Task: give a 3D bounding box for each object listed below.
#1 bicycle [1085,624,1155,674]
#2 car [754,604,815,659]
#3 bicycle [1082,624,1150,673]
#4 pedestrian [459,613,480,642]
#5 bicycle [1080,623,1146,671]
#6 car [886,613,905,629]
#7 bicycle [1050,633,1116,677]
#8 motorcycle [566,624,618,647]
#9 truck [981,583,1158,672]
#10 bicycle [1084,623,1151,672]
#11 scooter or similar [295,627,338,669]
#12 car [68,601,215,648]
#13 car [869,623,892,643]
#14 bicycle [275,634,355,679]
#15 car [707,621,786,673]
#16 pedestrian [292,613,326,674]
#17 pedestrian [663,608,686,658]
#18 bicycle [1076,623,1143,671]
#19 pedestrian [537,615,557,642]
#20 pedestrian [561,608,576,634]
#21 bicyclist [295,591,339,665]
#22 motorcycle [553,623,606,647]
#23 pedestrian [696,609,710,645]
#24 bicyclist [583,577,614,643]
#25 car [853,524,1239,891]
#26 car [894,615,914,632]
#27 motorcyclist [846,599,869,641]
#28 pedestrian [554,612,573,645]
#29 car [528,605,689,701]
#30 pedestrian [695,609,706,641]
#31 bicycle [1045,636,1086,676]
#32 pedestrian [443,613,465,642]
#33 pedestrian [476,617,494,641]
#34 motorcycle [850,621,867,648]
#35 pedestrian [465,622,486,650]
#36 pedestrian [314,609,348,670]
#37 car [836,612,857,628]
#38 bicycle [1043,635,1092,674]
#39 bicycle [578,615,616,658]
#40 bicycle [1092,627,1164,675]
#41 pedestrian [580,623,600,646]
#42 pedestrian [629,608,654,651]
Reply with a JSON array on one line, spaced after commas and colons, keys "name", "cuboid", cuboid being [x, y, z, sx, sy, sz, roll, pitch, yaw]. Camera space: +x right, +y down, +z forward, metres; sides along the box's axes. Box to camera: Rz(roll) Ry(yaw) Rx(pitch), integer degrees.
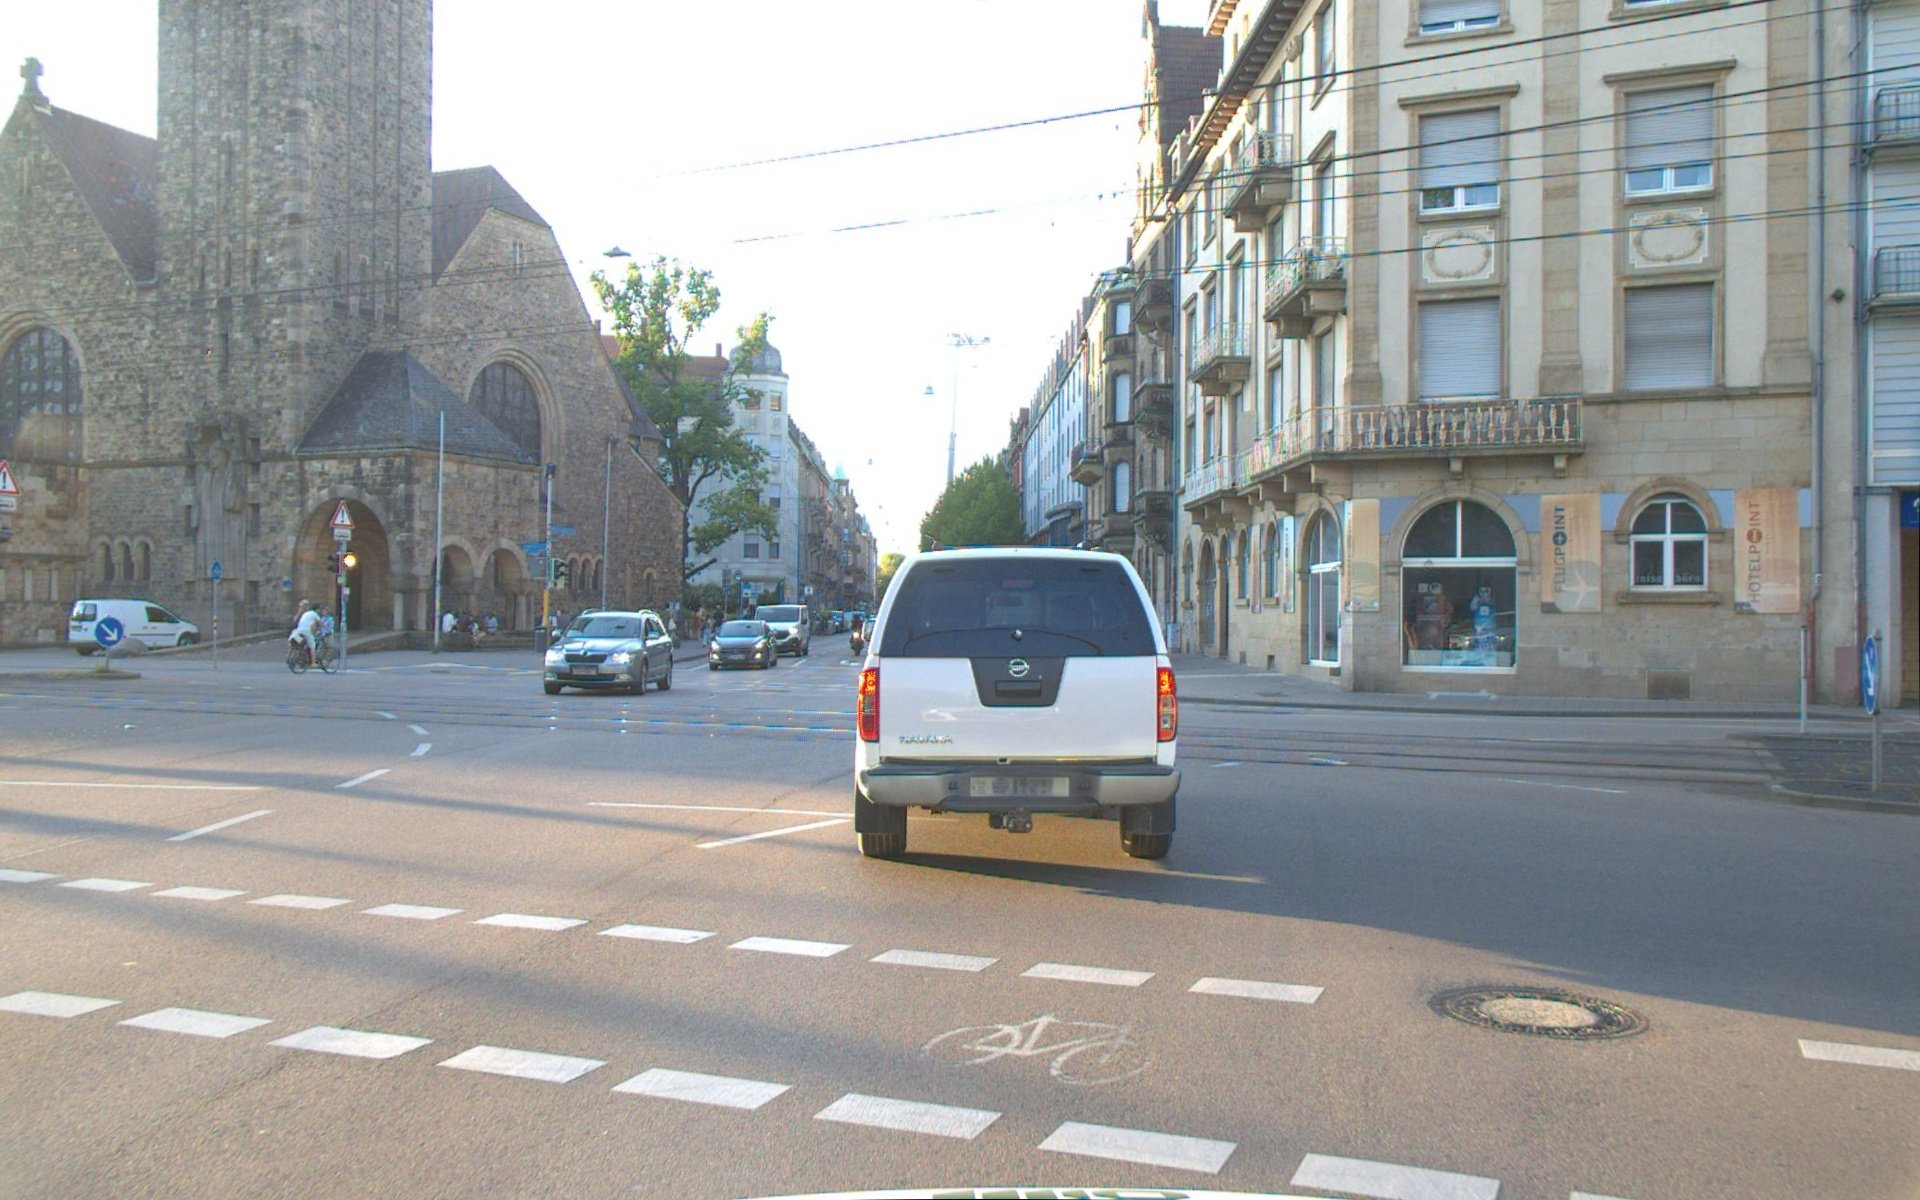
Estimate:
[{"name": "bicycle", "cuboid": [4.366, 1.335, 45.171, 1.781, 1.259, 0.488, -3, -1, -3]}, {"name": "car", "cuboid": [-6.750, 1.229, 64.115, 1.953, 2.049, 4.948, 0, -1, -1]}, {"name": "bicycle", "cuboid": [4.327, 1.352, 45.882, 1.781, 1.259, 0.477, -3, -1, -3]}, {"name": "pedestrian", "cuboid": [-16.818, 0.949, 56.698, 0.511, 0.977, 0.479, 1, -1, 19]}, {"name": "bicycle", "cuboid": [4.354, 1.342, 47.213, 1.781, 1.259, 0.410, -3, -1, -3]}, {"name": "car", "cuboid": [-6.574, 2.129, 168.851, 1.882, 1.556, 3.997, 1, -1, -3]}, {"name": "bicycle", "cuboid": [3.317, 1.478, 44.692, 1.692, 1.102, 0.317, -3, -1, -3]}, {"name": "motorcycle", "cuboid": [-16.835, 1.609, 75.715, 2.200, 1.005, 0.707, 1, -1, -6]}, {"name": "truck", "cuboid": [3.424, 0.853, 50.798, 5.628, 2.610, 2.251, 2, -1, -44]}, {"name": "bicycle", "cuboid": [4.425, 1.333, 46.608, 1.781, 1.259, 0.412, -3, -1, -3]}, {"name": "scooter or similar", "cuboid": [-17.997, 1.338, 46.262, 0.620, 1.123, 1.079, 1, -1, 11]}, {"name": "car", "cuboid": [-27.923, 0.861, 56.560, 1.679, 1.543, 4.453, 1, -1, 24]}, {"name": "car", "cuboid": [-6.583, 2.730, 136.907, 1.821, 1.556, 3.998, 1, -1, -2]}, {"name": "bicycle", "cuboid": [-16.580, 1.433, 42.573, 0.642, 1.097, 2.246, 1, -1, 16]}, {"name": "car", "cuboid": [-6.530, 1.404, 50.896, 1.953, 1.503, 4.138, -1, 0, -1]}, {"name": "pedestrian", "cuboid": [-18.596, 1.242, 47.241, 0.620, 1.728, 0.603, 1, -1, 13]}, {"name": "pedestrian", "cuboid": [-11.243, 1.296, 65.129, 0.796, 1.934, 0.666, 1, -1, -2]}, {"name": "bicycle", "cuboid": [4.311, 1.354, 47.744, 1.818, 1.259, 0.530, -3, -1, -3]}, {"name": "pedestrian", "cuboid": [-15.580, 1.080, 62.407, 0.510, 0.977, 0.479, 1, -1, 17]}, {"name": "pedestrian", "cuboid": [-14.758, 0.803, 62.285, 0.513, 0.977, 0.477, 1, -1, -16]}, {"name": "bicyclist", "cuboid": [-16.568, 0.714, 42.612, 0.642, 1.859, 0.860, 1, 0, 16]}, {"name": "motorcycle", "cuboid": [-16.927, 1.570, 73.688, 2.200, 1.005, 0.707, 1, -1, -6]}, {"name": "pedestrian", "cuboid": [-13.653, 1.425, 87.827, 0.632, 1.888, 0.560, 1, -1, -15]}, {"name": "bicyclist", "cuboid": [-9.414, 0.266, 43.106, 0.587, 1.673, 0.963, 1, -1, -1]}, {"name": "car", "cuboid": [0.447, 0.588, 10.517, 1.953, 1.841, 3.999, 1, -1, 0]}, {"name": "car", "cuboid": [-5.379, 2.241, 158.542, 1.821, 1.556, 3.999, 1, -1, -1]}, {"name": "motorcyclist", "cuboid": [-4.141, 0.816, 67.053, 0.857, 1.673, 0.963, 1, -1, -1]}, {"name": "pedestrian", "cuboid": [-15.374, 1.118, 64.113, 0.468, 1.267, 0.523, 1, -1, 17]}, {"name": "car", "cuboid": [-6.363, 0.909, 30.522, 1.953, 1.585, 4.768, 0, 0, 0]}, {"name": "pedestrian", "cuboid": [-13.898, 1.350, 88.667, 0.549, 1.725, 0.643, 1, -1, -8]}, {"name": "bicycle", "cuboid": [2.901, 1.531, 45.574, 1.055, 1.042, 0.317, -3, -1, -3]}, {"name": "pedestrian", "cuboid": [-17.428, 0.941, 56.973, 0.511, 0.977, 0.479, 1, -1, 19]}, {"name": "pedestrian", "cuboid": [-19.410, 1.199, 67.602, 0.541, 0.977, 0.708, 1, -1, -7]}, {"name": "motorcycle", "cuboid": [-4.096, 1.410, 66.978, 0.587, 1.062, 1.945, 1, -1, -1]}, {"name": "pedestrian", "cuboid": [-16.947, 1.248, 57.863, 0.469, 0.977, 0.522, 0, -1, 30]}, {"name": "pedestrian", "cuboid": [-17.927, 1.119, 47.141, 0.620, 1.728, 0.603, 1, -1, 11]}, {"name": "car", "cuboid": [-11.444, 2.063, 166.475, 1.821, 1.556, 3.999, 1, -1, -1]}, {"name": "bicycle", "cuboid": [3.041, 1.543, 46.832, 1.306, 1.042, 0.317, -3, -1, -3]}, {"name": "bicycle", "cuboid": [-9.456, 0.947, 43.109, 0.587, 1.062, 1.945, 1, -1, -1]}, {"name": "bicycle", "cuboid": [4.488, 1.364, 44.230, 1.781, 1.170, 0.636, -3, -1, -3]}, {"name": "pedestrian", "cuboid": [-16.500, 1.540, 73.768, 0.540, 0.977, 0.709, 1, -1, 21]}, {"name": "pedestrian", "cuboid": [-12.513, 1.160, 65.059, 0.796, 1.699, 0.859, 1, -1, -2]}]
